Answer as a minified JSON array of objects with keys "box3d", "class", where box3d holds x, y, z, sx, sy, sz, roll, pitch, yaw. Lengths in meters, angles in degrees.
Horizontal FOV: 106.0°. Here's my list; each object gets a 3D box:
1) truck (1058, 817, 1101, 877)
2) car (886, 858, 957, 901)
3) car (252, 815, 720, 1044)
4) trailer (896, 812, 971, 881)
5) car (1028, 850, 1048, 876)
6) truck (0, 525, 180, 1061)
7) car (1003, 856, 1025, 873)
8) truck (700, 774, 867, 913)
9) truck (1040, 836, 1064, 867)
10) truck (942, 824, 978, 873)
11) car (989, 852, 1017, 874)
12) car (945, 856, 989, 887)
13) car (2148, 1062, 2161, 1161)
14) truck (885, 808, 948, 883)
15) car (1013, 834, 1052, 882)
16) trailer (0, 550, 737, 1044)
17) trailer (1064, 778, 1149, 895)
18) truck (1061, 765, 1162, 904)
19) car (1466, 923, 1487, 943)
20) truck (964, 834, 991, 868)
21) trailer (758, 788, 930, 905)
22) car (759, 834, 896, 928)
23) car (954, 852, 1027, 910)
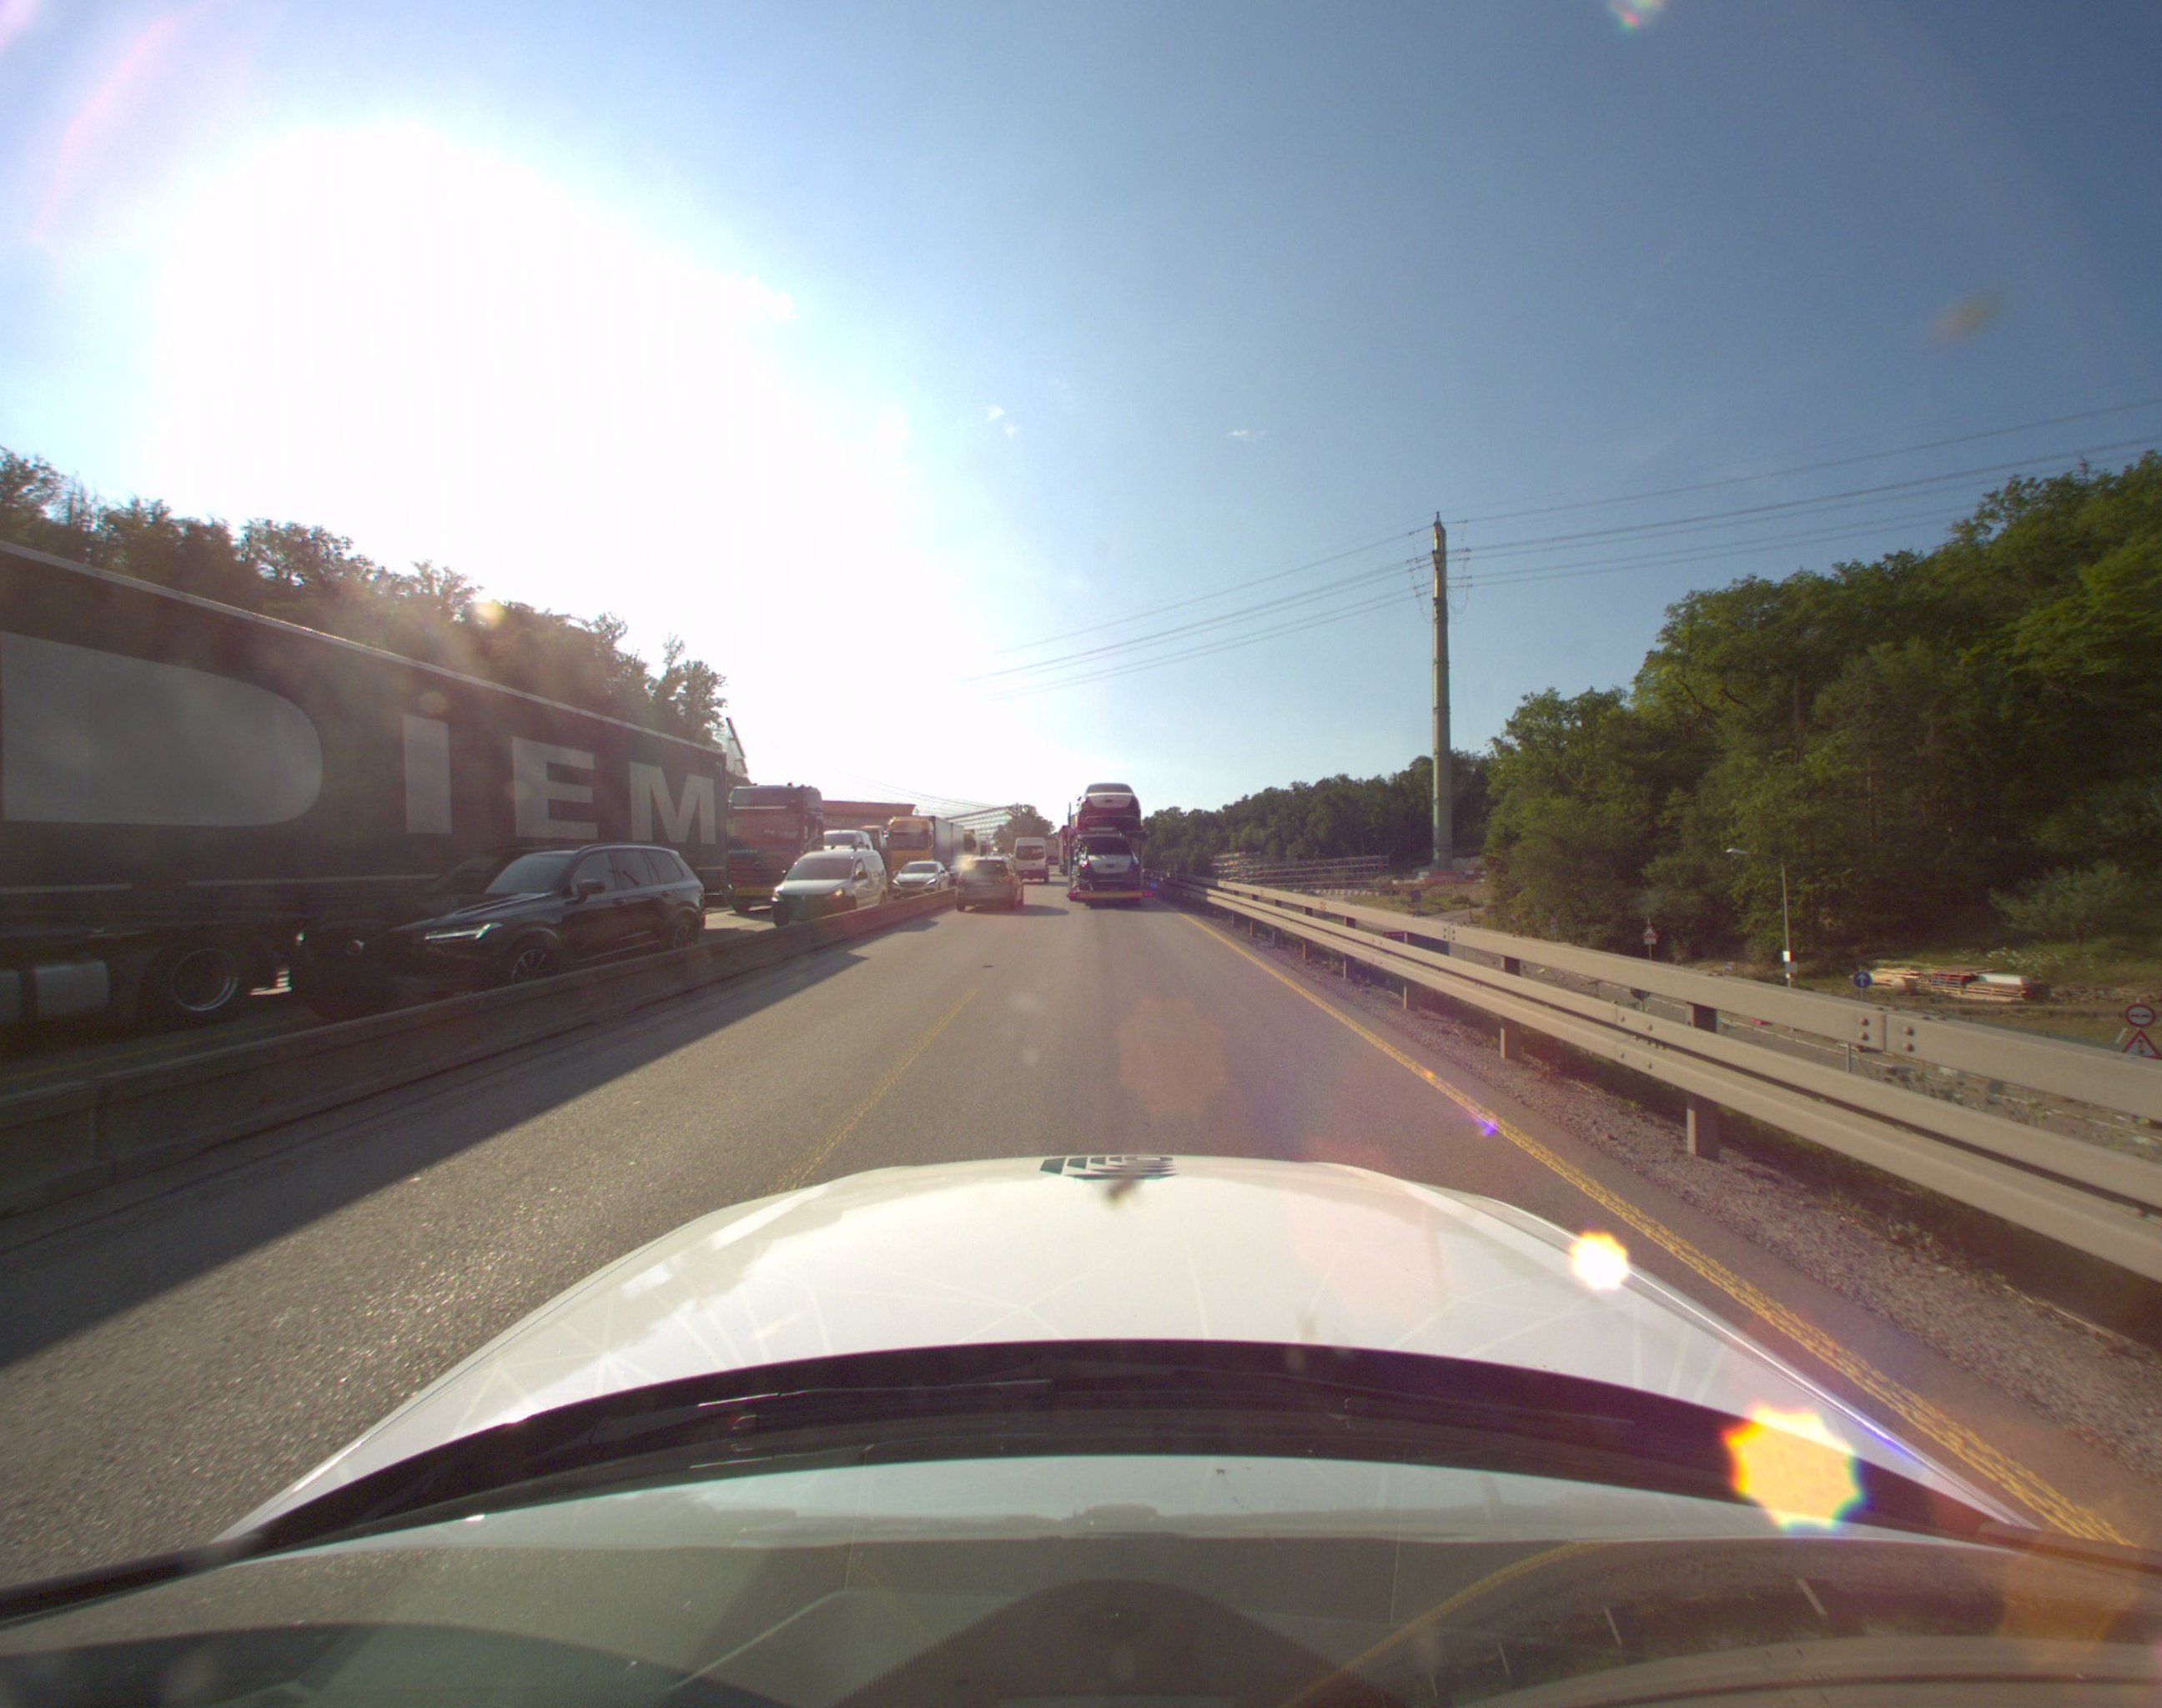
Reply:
[{"box3d":[-0.308,-0.623,69.841,3.220,4.677,11.684,-1,0,-2],"class":"truck"},{"box3d":[-6.302,0.975,32.678,1.797,1.521,4.817,-2,-1,1],"class":"car"},{"box3d":[-6.278,0.714,9.556,1.827,1.963,4.899,-1,-1,1],"class":"car"},{"box3d":[-10.020,-0.285,57.460,2.707,4.135,16.737,-1,-1,-2],"class":"trailer"},{"box3d":[-3.464,0.742,66.357,1.524,2.014,3.996,1,-1,-2],"class":"car"},{"box3d":[-9.634,-0.450,4.901,2.740,4.115,5.029,-2,-1,-1],"class":"truck"},{"box3d":[-6.375,1.038,77.503,1.783,1.498,4.721,-1,-1,-2],"class":"car"},{"box3d":[-9.329,-0.266,26.554,2.740,3.805,7.109,-2,-1,0],"class":"truck"},{"box3d":[-4.696,-0.413,129.093,3.640,4.677,11.681,-1,0,-3],"class":"truck"},{"box3d":[-10.623,-0.436,71.849,2.688,4.197,4.392,-1,-1,-4],"class":"truck"},{"box3d":[-6.280,0.768,65.876,1.922,1.701,4.687,-1,-1,-2],"class":"car"},{"box3d":[-6.499,0.996,47.012,1.954,1.645,4.845,-1,-1,-2],"class":"car"},{"box3d":[22.839,5.206,14.340,1.851,1.986,5.063,-1,-3,9],"class":"car"},{"box3d":[-9.706,-0.450,48.514,2.694,4.141,5.789,-1,-1,-2],"class":"truck"},{"box3d":[-2.796,0.249,47.862,1.973,2.684,4.145,-1,-1,0],"class":"car"},{"box3d":[-9.612,-0.395,13.057,2.706,4.123,12.490,-2,-1,0],"class":"trailer"},{"box3d":[0.938,-0.466,35.802,2.865,3.994,15.277,-1,-1,0],"class":"trailer"},{"box3d":[0.908,-0.527,26.659,2.860,3.980,5.770,-1,-1,0],"class":"truck"},{"box3d":[35.252,7.013,72.604,1.512,1.461,4.292,-2,-1,24],"class":"car"},{"box3d":[-13.146,-0.283,104.259,2.805,3.970,13.866,-1,-1,-5],"class":"truck"},{"box3d":[-9.390,-0.188,35.248,2.740,3.816,16.041,-2,-1,0],"class":"trailer"},{"box3d":[-6.099,0.643,20.303,1.819,1.933,5.126,-4,-1,-2],"class":"car"},{"box3d":[-2.681,0.794,24.948,1.695,1.587,4.147,-1,-1,1],"class":"car"}]
